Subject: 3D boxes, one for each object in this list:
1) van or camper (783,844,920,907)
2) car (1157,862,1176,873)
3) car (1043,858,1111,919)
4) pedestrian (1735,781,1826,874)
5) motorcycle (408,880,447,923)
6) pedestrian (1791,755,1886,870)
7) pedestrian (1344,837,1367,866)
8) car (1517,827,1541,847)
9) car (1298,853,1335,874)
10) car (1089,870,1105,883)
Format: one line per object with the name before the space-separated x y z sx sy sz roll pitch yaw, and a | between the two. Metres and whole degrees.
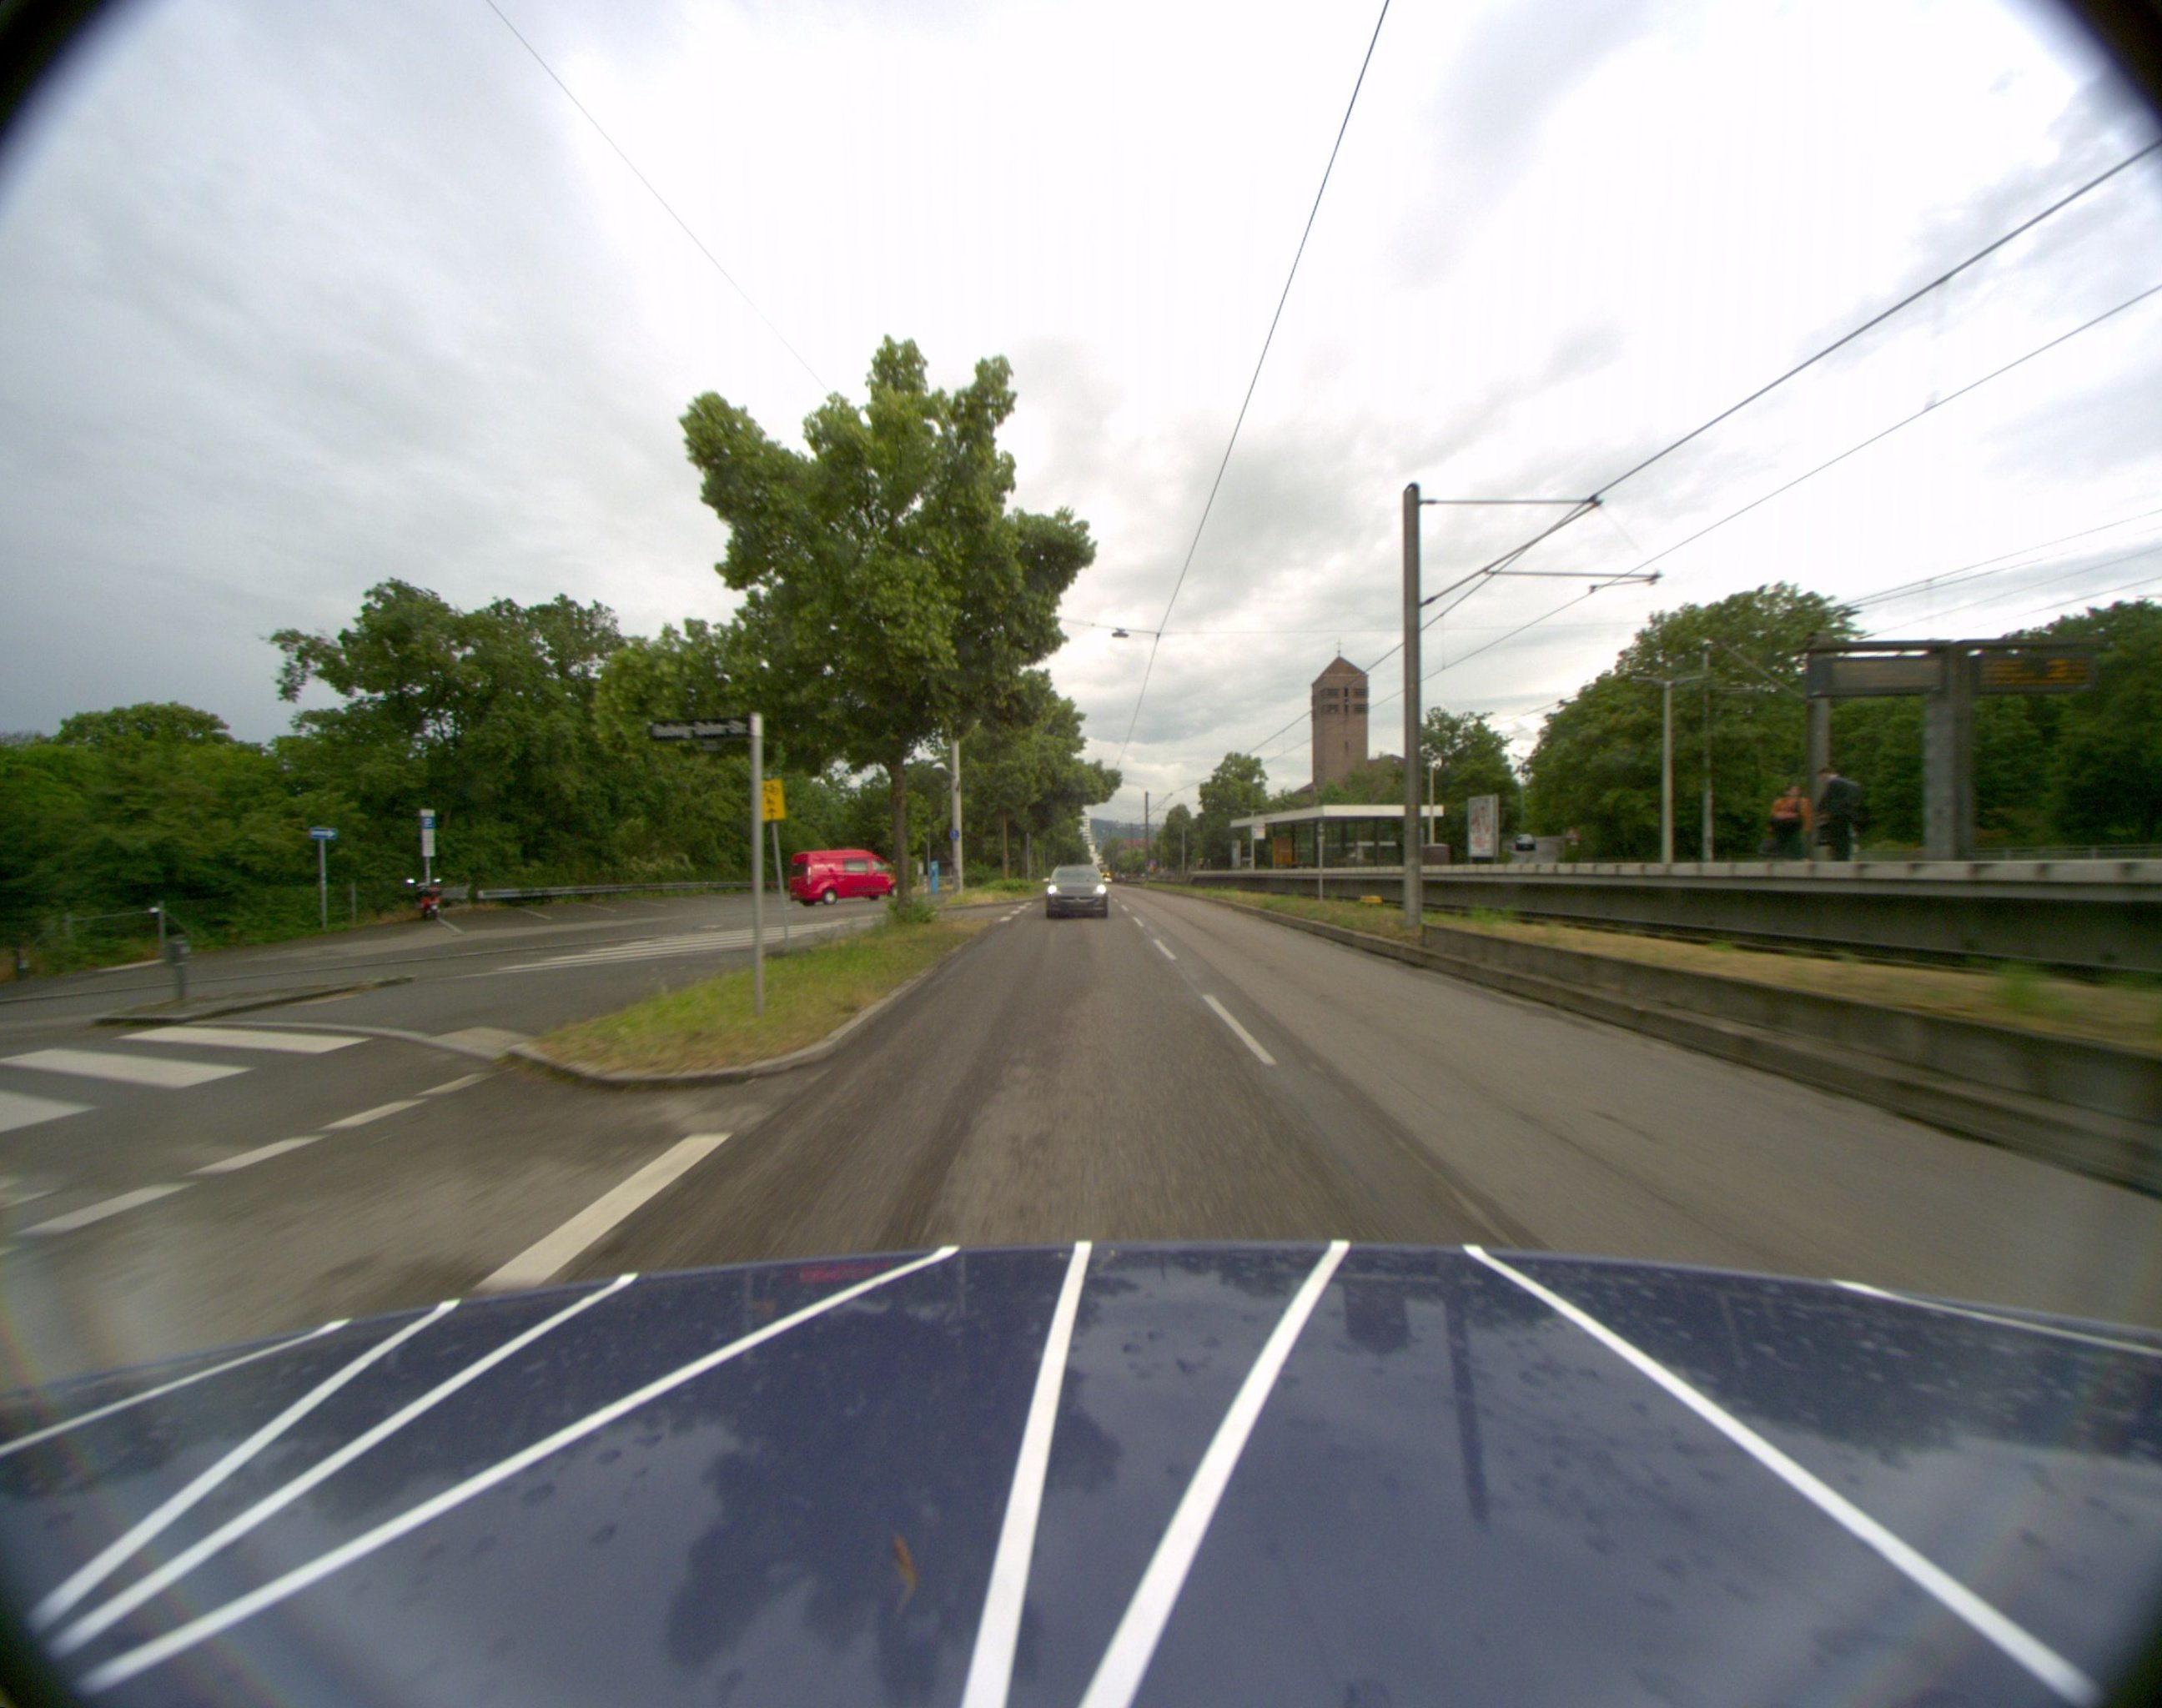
van or camper | -10.100 0.905 33.794 2.036 2.391 5.401 -6 -1 43
car | 13.137 2.075 116.511 1.999 1.614 4.516 -1 -1 -5
car | -0.130 0.959 22.223 1.746 1.543 4.494 -2 -1 -1
pedestrian | 13.039 -0.478 14.177 0.798 1.637 0.917 -2 -2 -22
motorcycle | -21.119 1.501 24.546 2.018 1.207 0.474 2 6 38
pedestrian | 13.222 -0.703 13.280 0.746 1.897 0.841 -2 -2 -21
pedestrian | 11.691 -0.090 32.346 0.712 1.218 0.619 -1 0 -1
car | 46.169 -1.780 78.354 1.995 2.002 4.007 -2 1 30
car | 22.288 0.938 72.064 1.999 1.865 4.518 -1 -1 -2
car | 2.032 2.779 94.611 1.768 1.502 4.343 -1 -1 4
